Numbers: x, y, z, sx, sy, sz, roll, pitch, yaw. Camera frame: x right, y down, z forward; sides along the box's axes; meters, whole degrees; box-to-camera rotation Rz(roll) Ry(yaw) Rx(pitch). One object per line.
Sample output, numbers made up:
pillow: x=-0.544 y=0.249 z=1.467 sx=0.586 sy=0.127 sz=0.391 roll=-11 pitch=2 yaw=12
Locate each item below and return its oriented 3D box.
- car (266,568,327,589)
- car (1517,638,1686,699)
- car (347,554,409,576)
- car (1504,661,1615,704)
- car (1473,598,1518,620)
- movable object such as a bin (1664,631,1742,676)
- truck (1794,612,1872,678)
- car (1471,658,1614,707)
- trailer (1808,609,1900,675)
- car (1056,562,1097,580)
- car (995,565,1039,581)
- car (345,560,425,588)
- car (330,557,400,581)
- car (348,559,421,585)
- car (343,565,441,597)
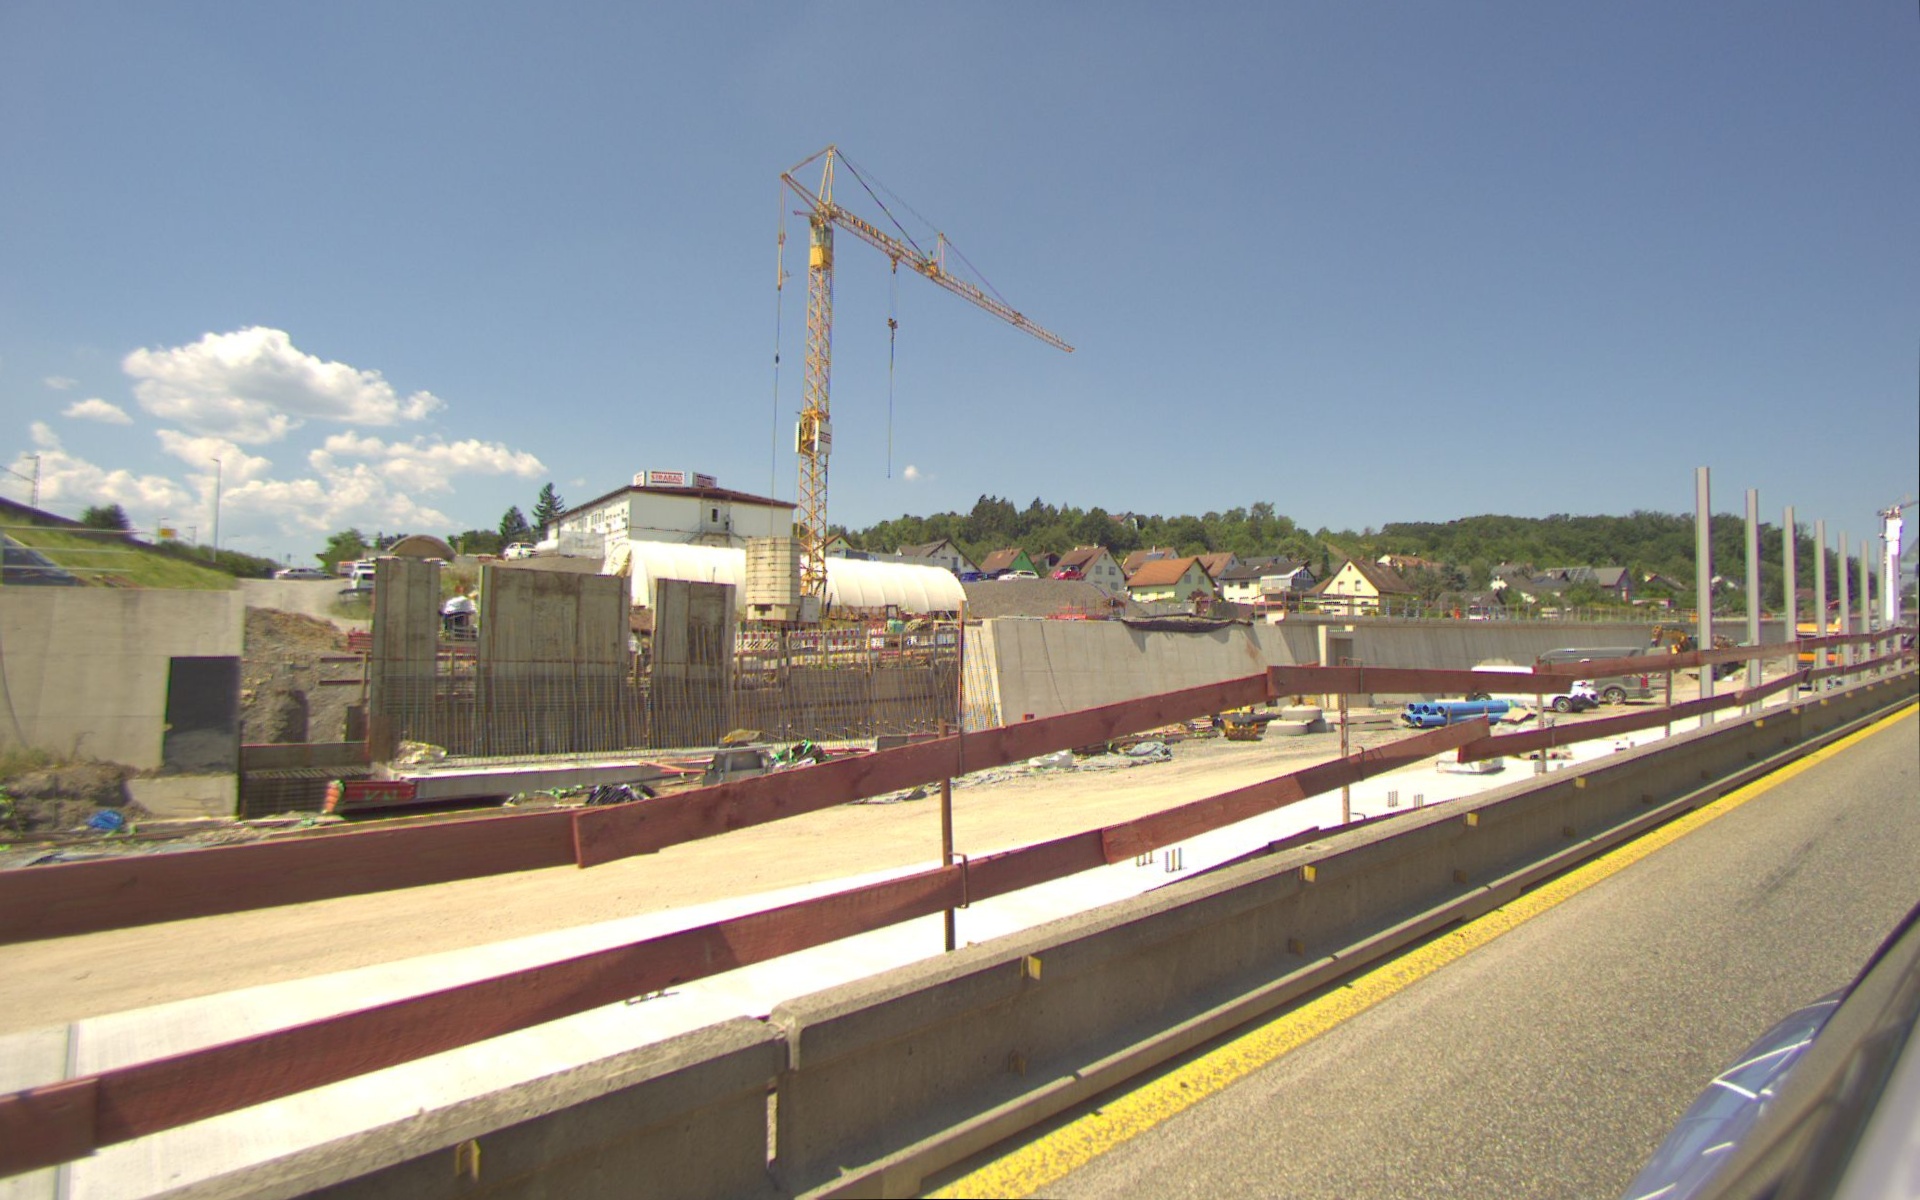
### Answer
car: x=-64.924 y=-2.125 z=99.073 sx=4.893 sy=1.984 sz=1.999 roll=-1 pitch=0 yaw=-37
car: x=29.263 y=3.157 z=46.310 sx=6.267 sy=2.615 sz=2.027 roll=-4 pitch=-4 yaw=37
car: x=-54.589 y=-3.290 z=94.947 sx=4.893 sy=1.984 sz=1.999 roll=-1 pitch=0 yaw=-37
car: x=26.128 y=3.555 z=44.190 sx=1.665 sy=1.708 sz=3.860 roll=0 pitch=-2 yaw=-45
car: x=42.849 y=0.707 z=80.922 sx=4.527 sy=1.623 sz=1.656 roll=-1 pitch=0 yaw=-42
movable object such as a bin: x=51.844 y=3.692 z=70.619 sx=3.924 sy=2.820 sz=3.270 roll=-1 pitch=0 yaw=-35
truck: x=49.323 y=2.444 z=57.132 sx=5.341 sy=3.448 sz=2.503 roll=-1 pitch=0 yaw=-40
car: x=23.979 y=3.357 z=41.800 sx=1.689 sy=1.792 sz=4.797 roll=1 pitch=-3 yaw=-40
trailer: x=54.468 y=2.400 z=61.508 sx=12.668 sy=3.394 sz=2.444 roll=-1 pitch=0 yaw=-41
car: x=10.249 y=-2.552 z=88.996 sx=3.544 sy=1.505 sz=1.544 roll=-1 pitch=0 yaw=-40
car: x=5.497 y=-2.545 z=96.719 sx=4.141 sy=1.505 sz=1.727 roll=-1 pitch=0 yaw=-40
car: x=-42.135 y=-1.868 z=74.231 sx=4.893 sy=1.984 sz=1.999 roll=-1 pitch=0 yaw=-37
car: x=-50.647 y=-2.616 z=86.185 sx=4.893 sy=1.984 sz=1.999 roll=-1 pitch=0 yaw=-37
car: x=-46.157 y=-2.234 z=81.155 sx=4.893 sy=1.984 sz=1.999 roll=-1 pitch=0 yaw=-37
car: x=-37.583 y=-1.249 z=66.988 sx=5.468 sy=1.984 sz=1.999 roll=-1 pitch=0 yaw=-37
